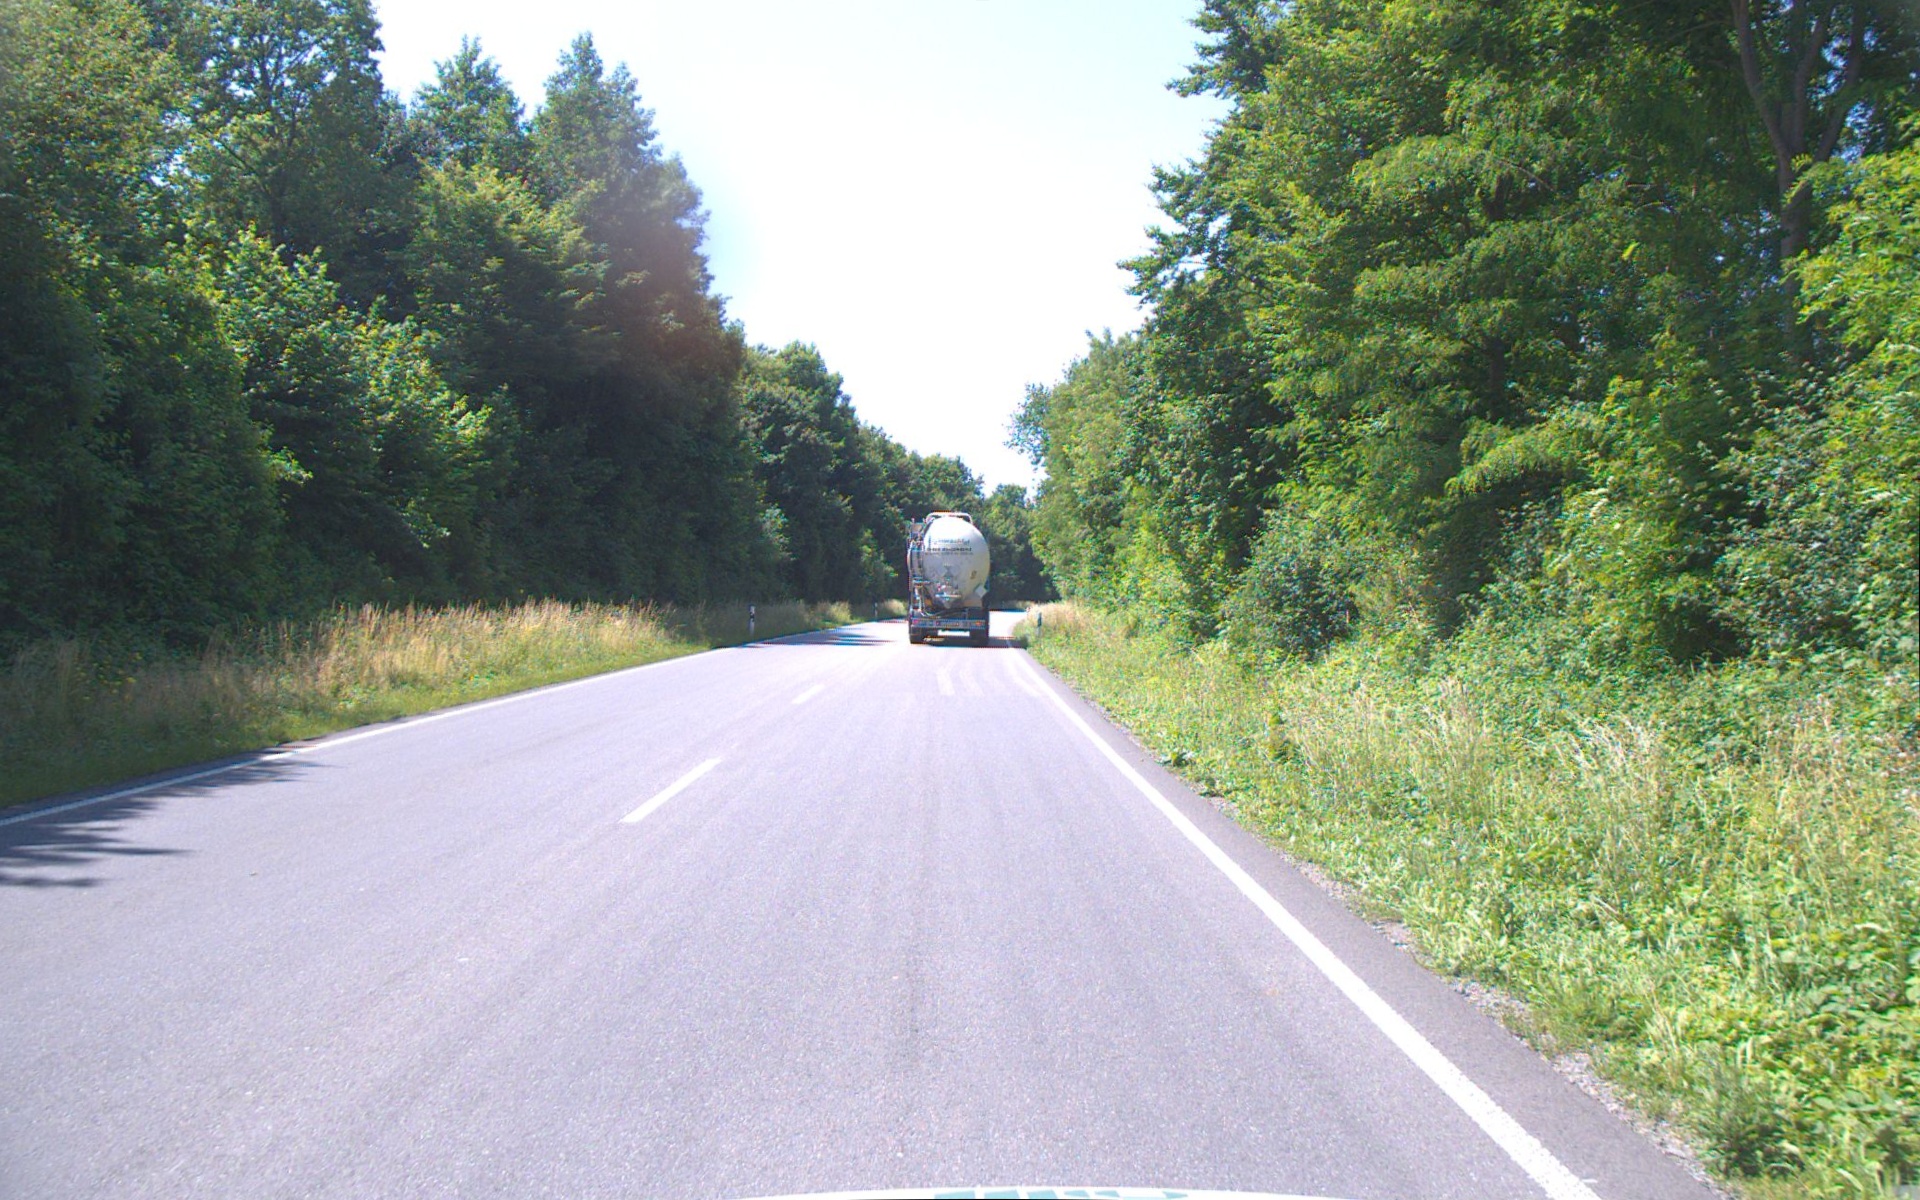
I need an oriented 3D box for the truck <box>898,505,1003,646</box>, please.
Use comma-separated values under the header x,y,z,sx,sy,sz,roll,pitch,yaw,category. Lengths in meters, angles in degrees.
x,y,z,sx,sy,sz,roll,pitch,yaw,category
-0.403,-0.721,56.416,2.987,4.068,15.633,1,0,-1,truck
